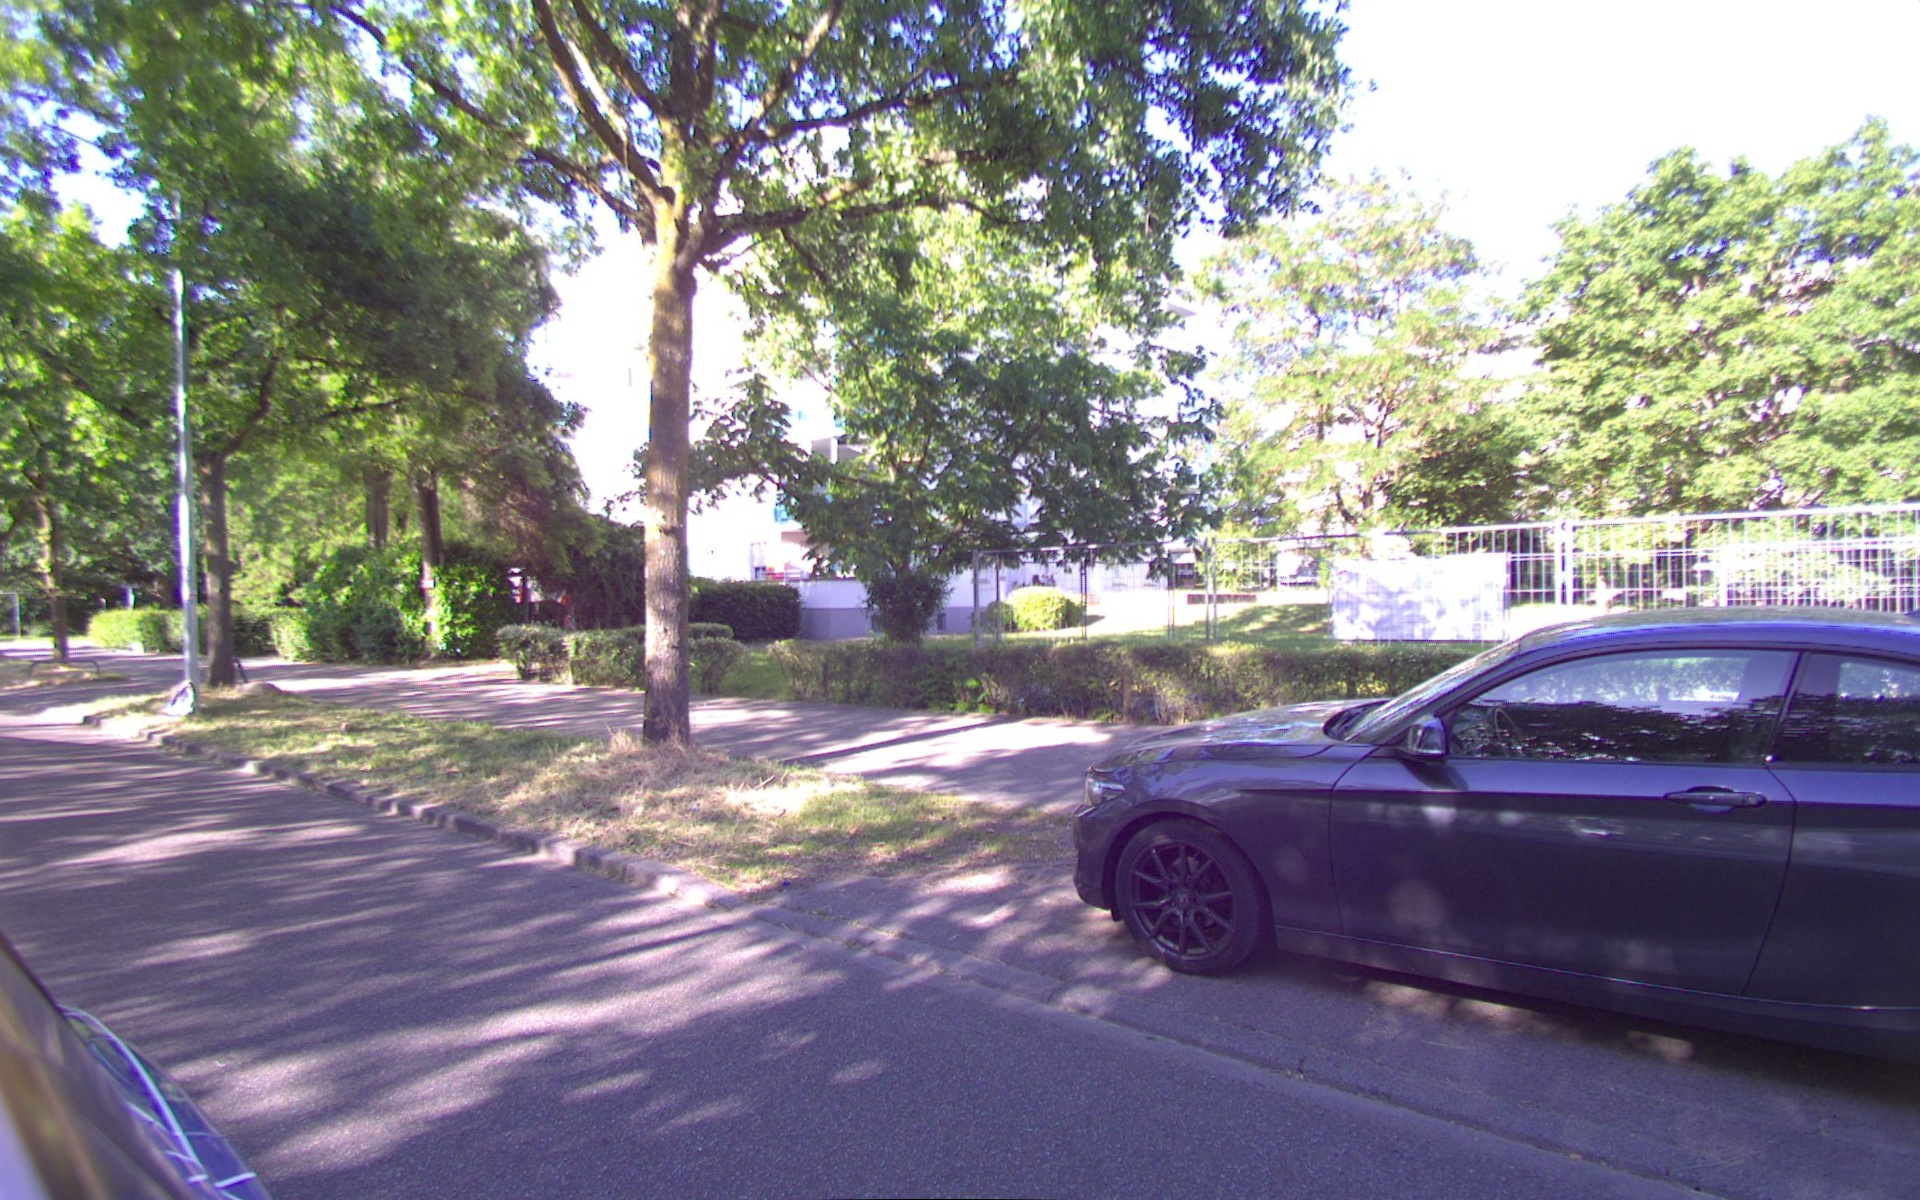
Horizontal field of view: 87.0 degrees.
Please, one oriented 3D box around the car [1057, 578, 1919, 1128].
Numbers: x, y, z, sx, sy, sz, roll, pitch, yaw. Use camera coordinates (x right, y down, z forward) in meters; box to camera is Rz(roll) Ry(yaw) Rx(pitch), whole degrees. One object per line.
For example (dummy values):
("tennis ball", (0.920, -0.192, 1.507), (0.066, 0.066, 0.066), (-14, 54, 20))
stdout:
("car", (2.585, 0.683, 3.765), (4.130, 1.443, 1.700), (-2, 1, 37))
